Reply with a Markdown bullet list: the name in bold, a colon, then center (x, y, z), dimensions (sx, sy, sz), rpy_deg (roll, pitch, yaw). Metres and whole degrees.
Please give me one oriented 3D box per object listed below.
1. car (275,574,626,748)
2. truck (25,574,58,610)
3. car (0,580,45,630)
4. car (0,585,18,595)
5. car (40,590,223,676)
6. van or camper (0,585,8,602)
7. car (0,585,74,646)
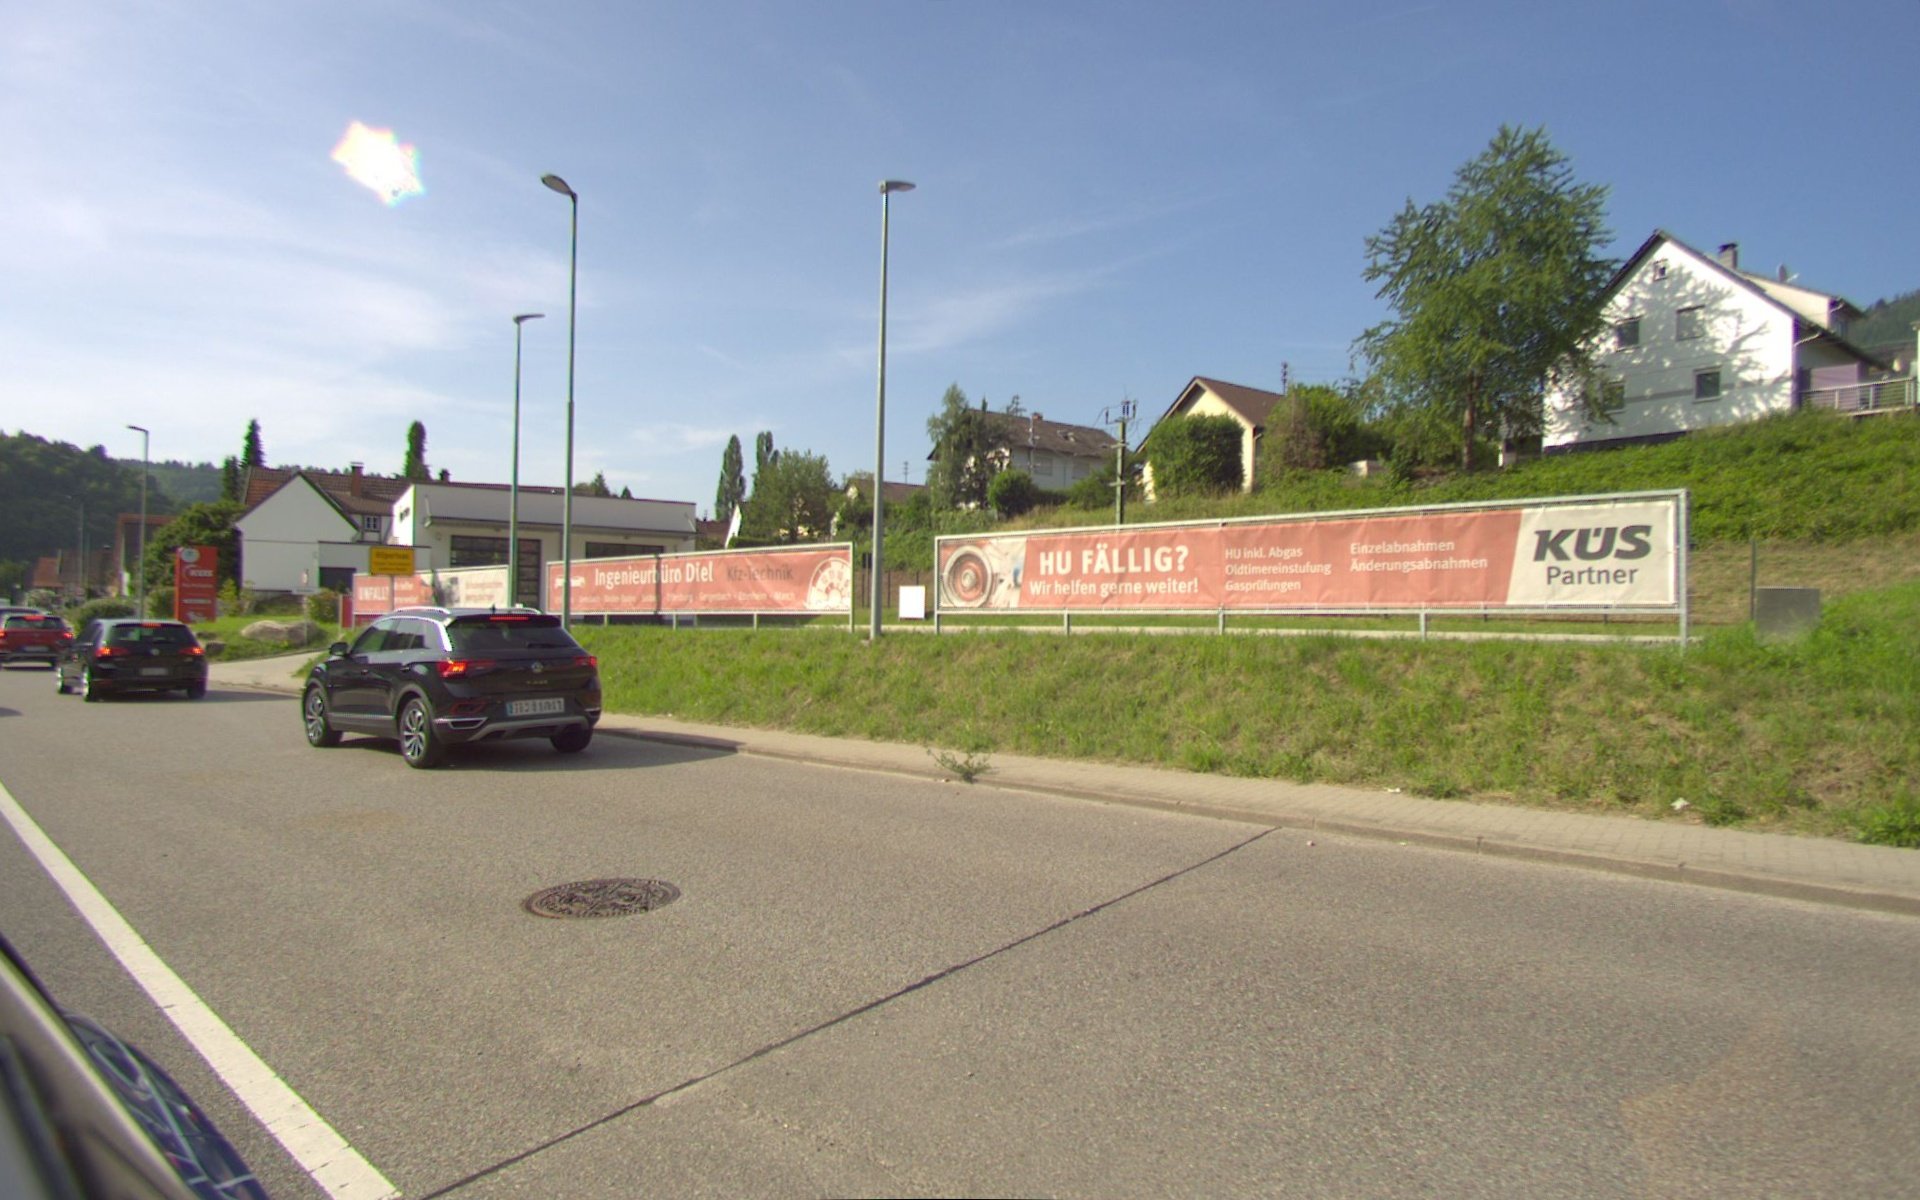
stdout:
- **car**: center (-5.609, 0.546, 10.925), dimensions (4.267, 1.528, 1.757), rpy_deg (0, -1, 39)
- **truck**: center (-105.056, -0.926, 115.674), dimensions (2.547, 3.961, 11.317), rpy_deg (2, -1, -43)
- **car**: center (-37.745, 0.172, 39.935), dimensions (5.295, 1.902, 1.876), rpy_deg (0, -1, 42)
- **car**: center (-149.871, -1.631, 159.311), dimensions (1.608, 1.496, 4.012), rpy_deg (-1, 2, -32)
- **car**: center (-15.492, 0.583, 18.858), dimensions (4.267, 1.418, 1.757), rpy_deg (0, -2, 39)
- **van or camper**: center (-163.374, -1.130, 172.014), dimensions (2.169, 2.960, 7.135), rpy_deg (0, 0, -42)
- **car**: center (-26.538, 0.419, 28.616), dimensions (4.158, 1.596, 1.687), rpy_deg (0, -2, 42)
